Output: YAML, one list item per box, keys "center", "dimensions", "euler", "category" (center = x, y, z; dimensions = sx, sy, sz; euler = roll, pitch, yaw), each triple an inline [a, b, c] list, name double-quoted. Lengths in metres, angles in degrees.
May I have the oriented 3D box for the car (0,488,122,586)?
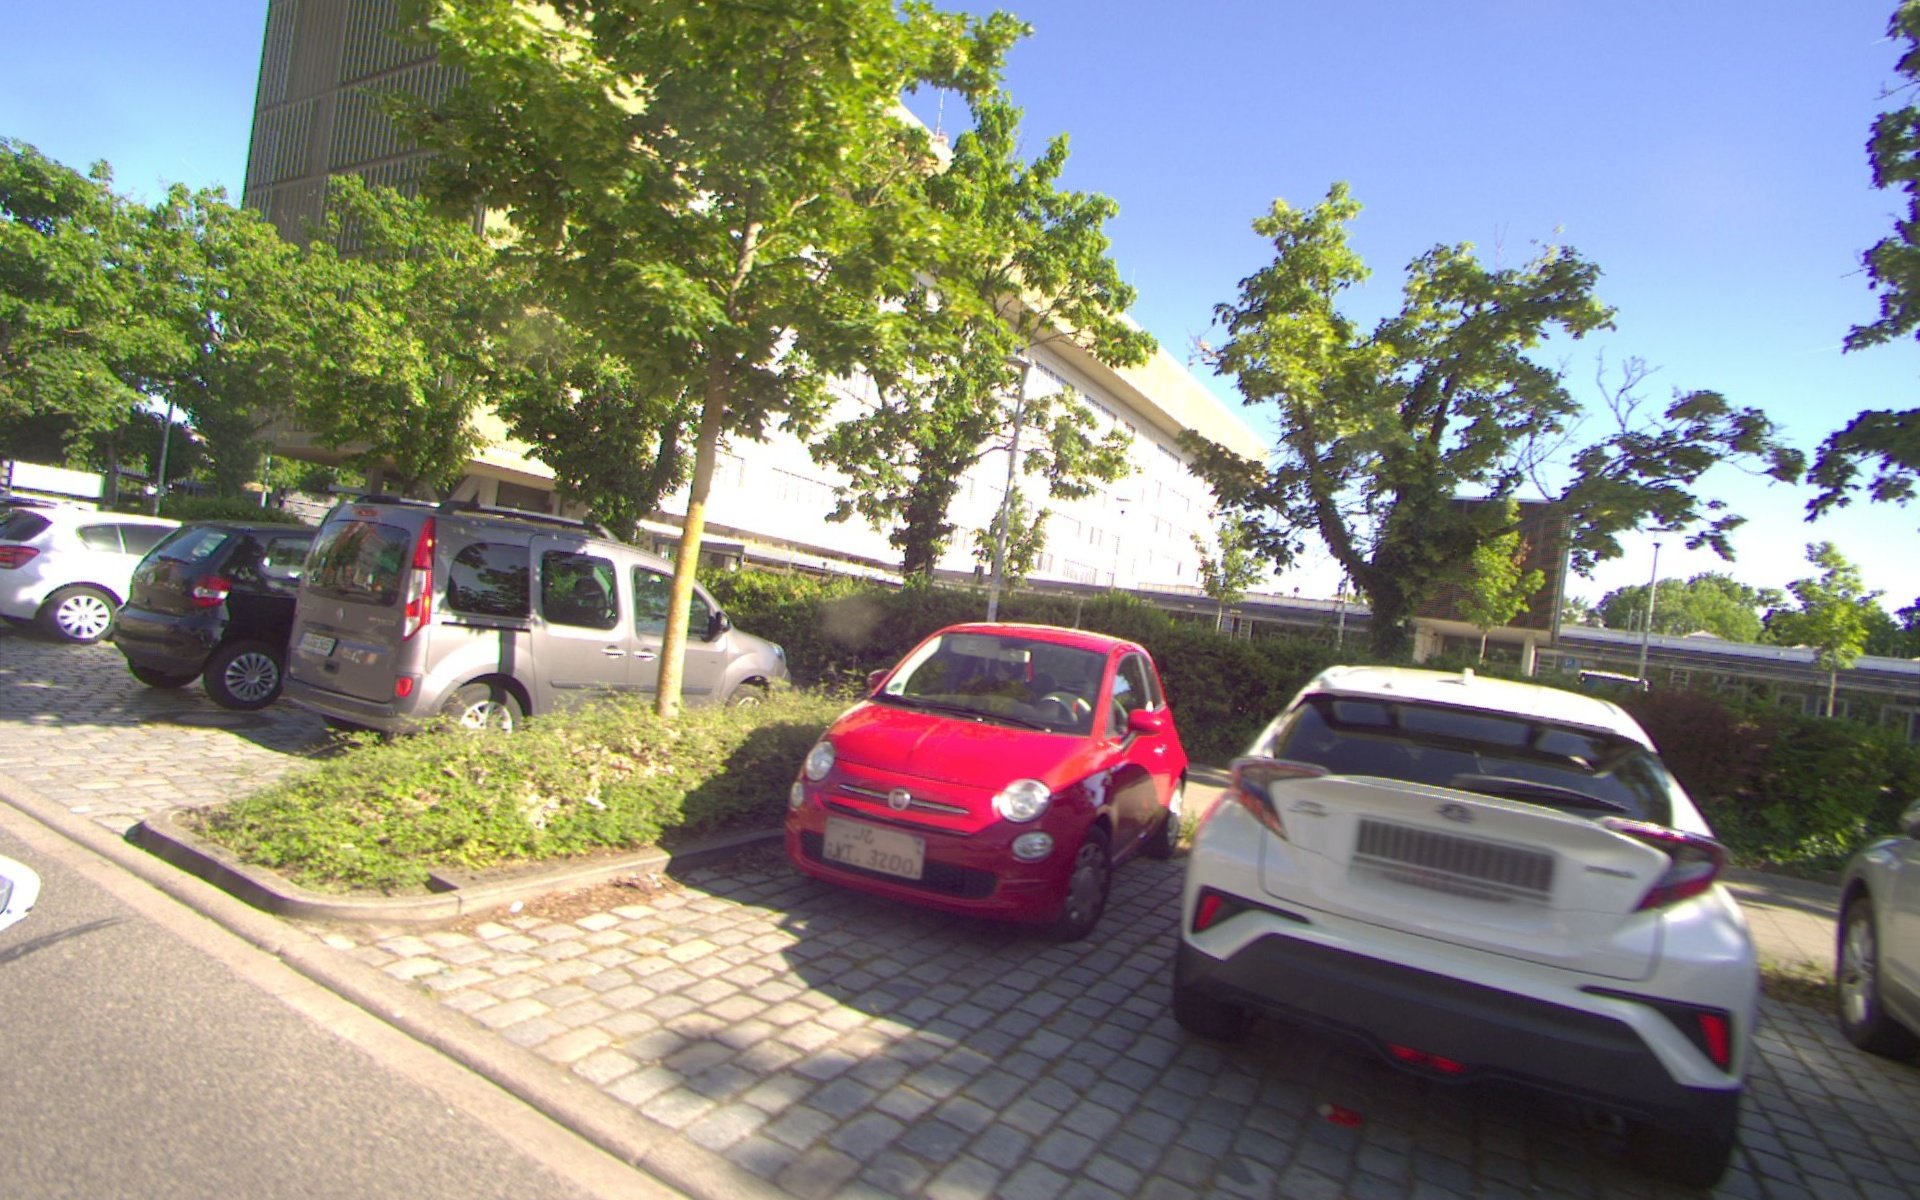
- center: [-17.316, -1.273, 17.430]
  dimensions: [1.624, 1.522, 3.871]
  euler: [7, -1, 29]
  category: "car"

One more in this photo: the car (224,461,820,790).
- center: [-3.336, 0.268, 8.548]
  dimensions: [1.945, 1.951, 4.127]
  euler: [8, 0, 29]
  category: "car"

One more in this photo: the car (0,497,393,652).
- center: [-9.391, -0.250, 12.119]
  dimensions: [1.713, 1.443, 4.066]
  euler: [6, -1, 32]
  category: "car"

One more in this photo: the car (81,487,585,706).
- center: [-5.722, 0.079, 9.641]
  dimensions: [1.678, 1.568, 3.614]
  euler: [8, 0, 29]
  category: "car"

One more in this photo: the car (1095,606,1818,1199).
- center: [2.067, 1.030, 4.514]
  dimensions: [1.707, 1.548, 3.506]
  euler: [8, -1, 26]
  category: "car"

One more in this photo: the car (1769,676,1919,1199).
- center: [4.122, 1.216, 2.935]
  dimensions: [1.907, 1.715, 3.907]
  euler: [8, 0, 29]
  category: "car"

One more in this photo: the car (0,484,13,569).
- center: [-19.858, -1.629, 17.771]
  dimensions: [1.711, 1.599, 4.151]
  euler: [7, -1, 30]
  category: "car"

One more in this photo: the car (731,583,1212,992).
- center: [0.366, 0.884, 6.008]
  dimensions: [1.571, 1.548, 3.374]
  euler: [6, -1, 23]
  category: "car"

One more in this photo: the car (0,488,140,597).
- center: [-15.457, -1.054, 15.514]
  dimensions: [1.713, 1.503, 3.908]
  euler: [7, -1, 30]
  category: "car"
